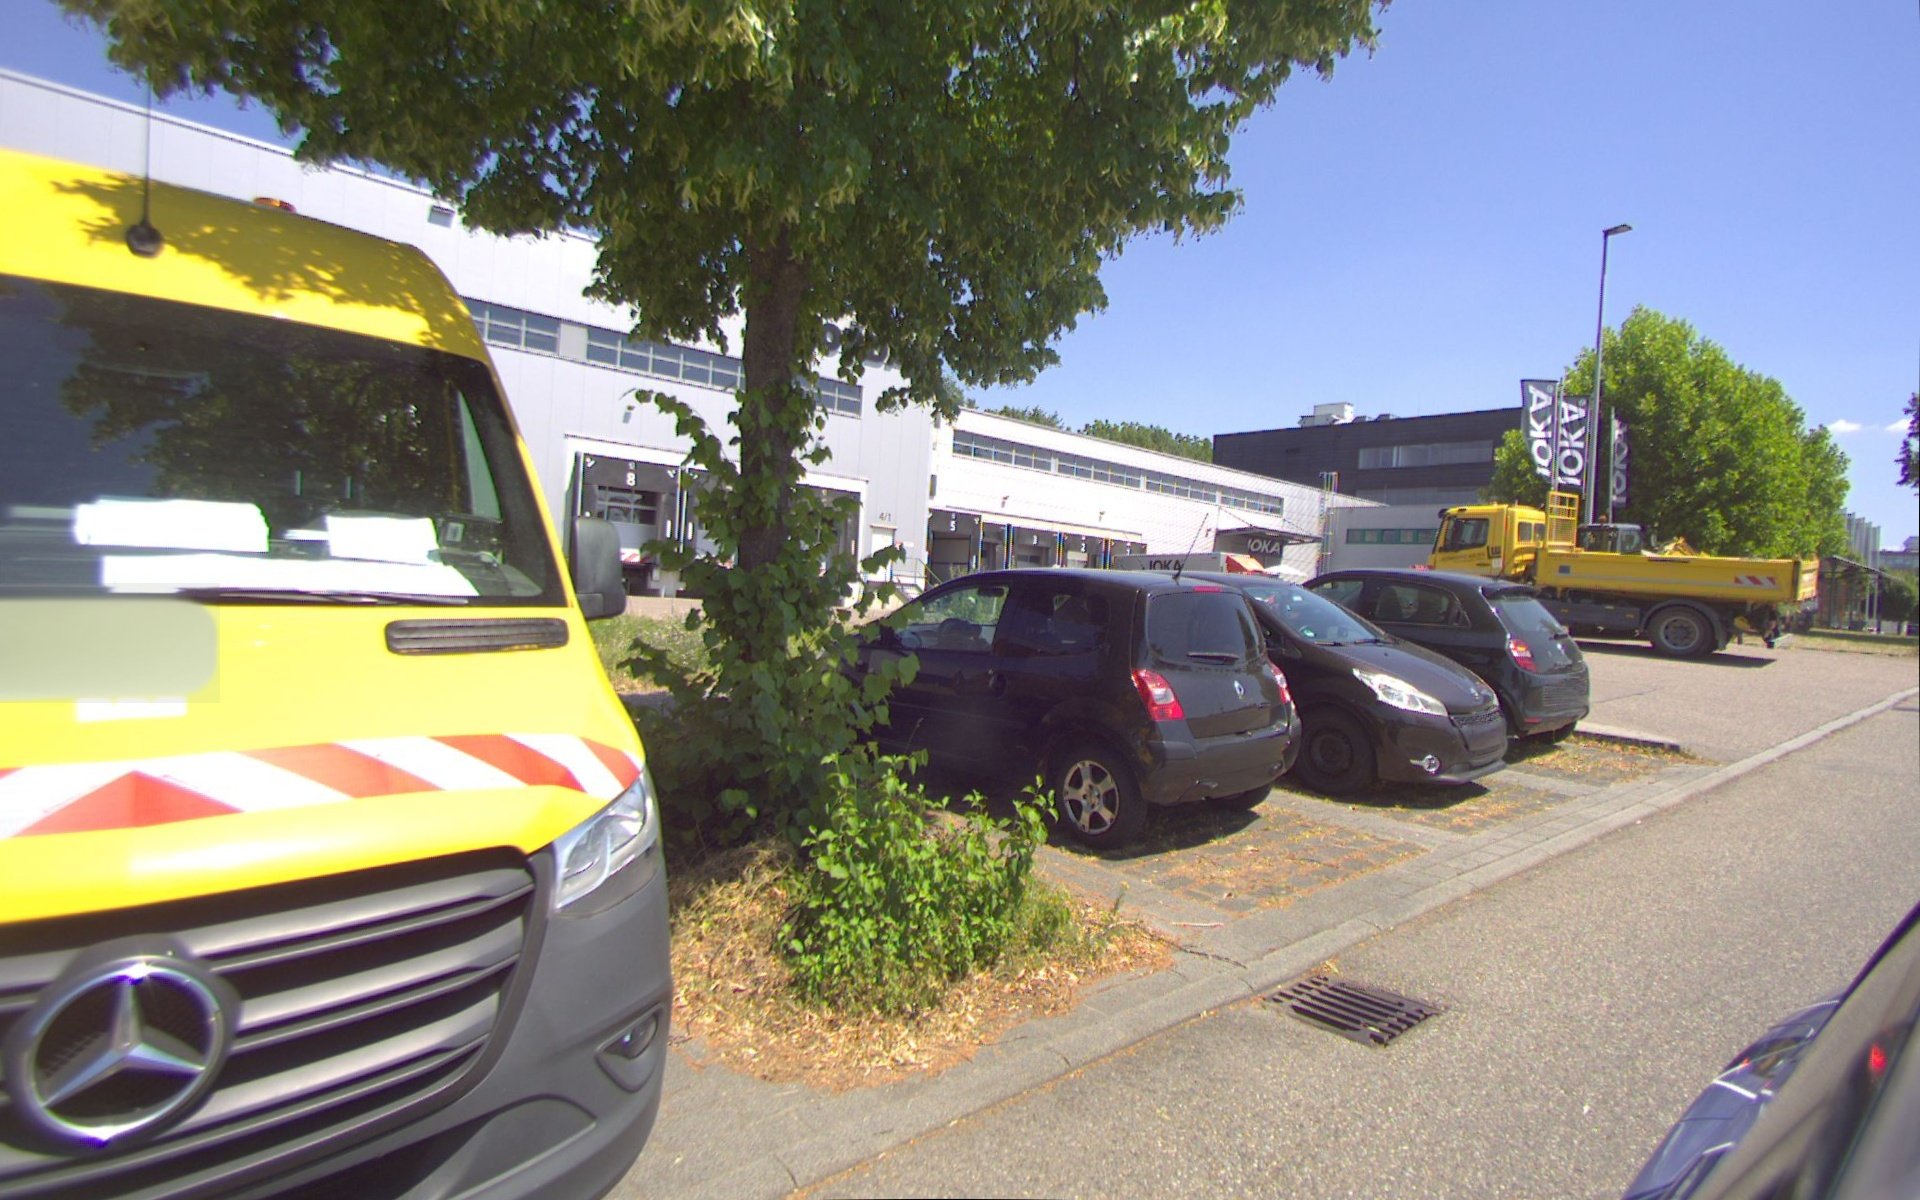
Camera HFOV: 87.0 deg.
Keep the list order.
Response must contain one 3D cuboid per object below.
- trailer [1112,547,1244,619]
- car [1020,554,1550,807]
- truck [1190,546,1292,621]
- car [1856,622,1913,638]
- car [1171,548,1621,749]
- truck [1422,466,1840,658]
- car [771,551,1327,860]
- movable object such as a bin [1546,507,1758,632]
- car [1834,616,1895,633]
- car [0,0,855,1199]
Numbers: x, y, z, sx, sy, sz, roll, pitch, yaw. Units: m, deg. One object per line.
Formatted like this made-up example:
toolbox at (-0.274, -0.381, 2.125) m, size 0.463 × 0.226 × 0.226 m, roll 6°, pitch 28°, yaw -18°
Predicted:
trailer at (11.456, -0.916, 53.627) m, size 2.139 × 3.503 × 6.700 m, roll 6°, pitch -3°, yaw -41°
car at (2.389, 0.437, 8.173) m, size 1.563 × 1.526 × 3.777 m, roll 1°, pitch 2°, yaw -42°
truck at (14.047, -0.835, 50.726) m, size 2.120 × 3.496 × 4.337 m, roll 6°, pitch -3°, yaw -42°
car at (88.327, 2.880, 96.713) m, size 1.581 × 1.290 × 3.839 m, roll 2°, pitch 1°, yaw -41°
car at (4.063, 0.315, 9.903) m, size 1.598 × 1.480 × 3.670 m, roll 1°, pitch 4°, yaw -39°
truck at (12.971, -0.812, 20.018) m, size 2.553 × 3.174 × 6.411 m, roll -1°, pitch 3°, yaw -43°
car at (0.372, 0.455, 6.829) m, size 1.600 × 1.497 × 3.609 m, roll 1°, pitch 2°, yaw -41°
movable object such as a bin at (16.504, -0.676, 23.979) m, size 6.453 × 2.613 × 2.000 m, roll 0°, pitch 1°, yaw -35°
car at (81.170, 2.203, 90.879) m, size 1.675 × 1.290 × 3.887 m, roll 2°, pitch 1°, yaw -41°
car at (-2.833, -0.241, 3.547) m, size 1.963 × 2.765 × 5.798 m, roll 2°, pitch 4°, yaw -39°
